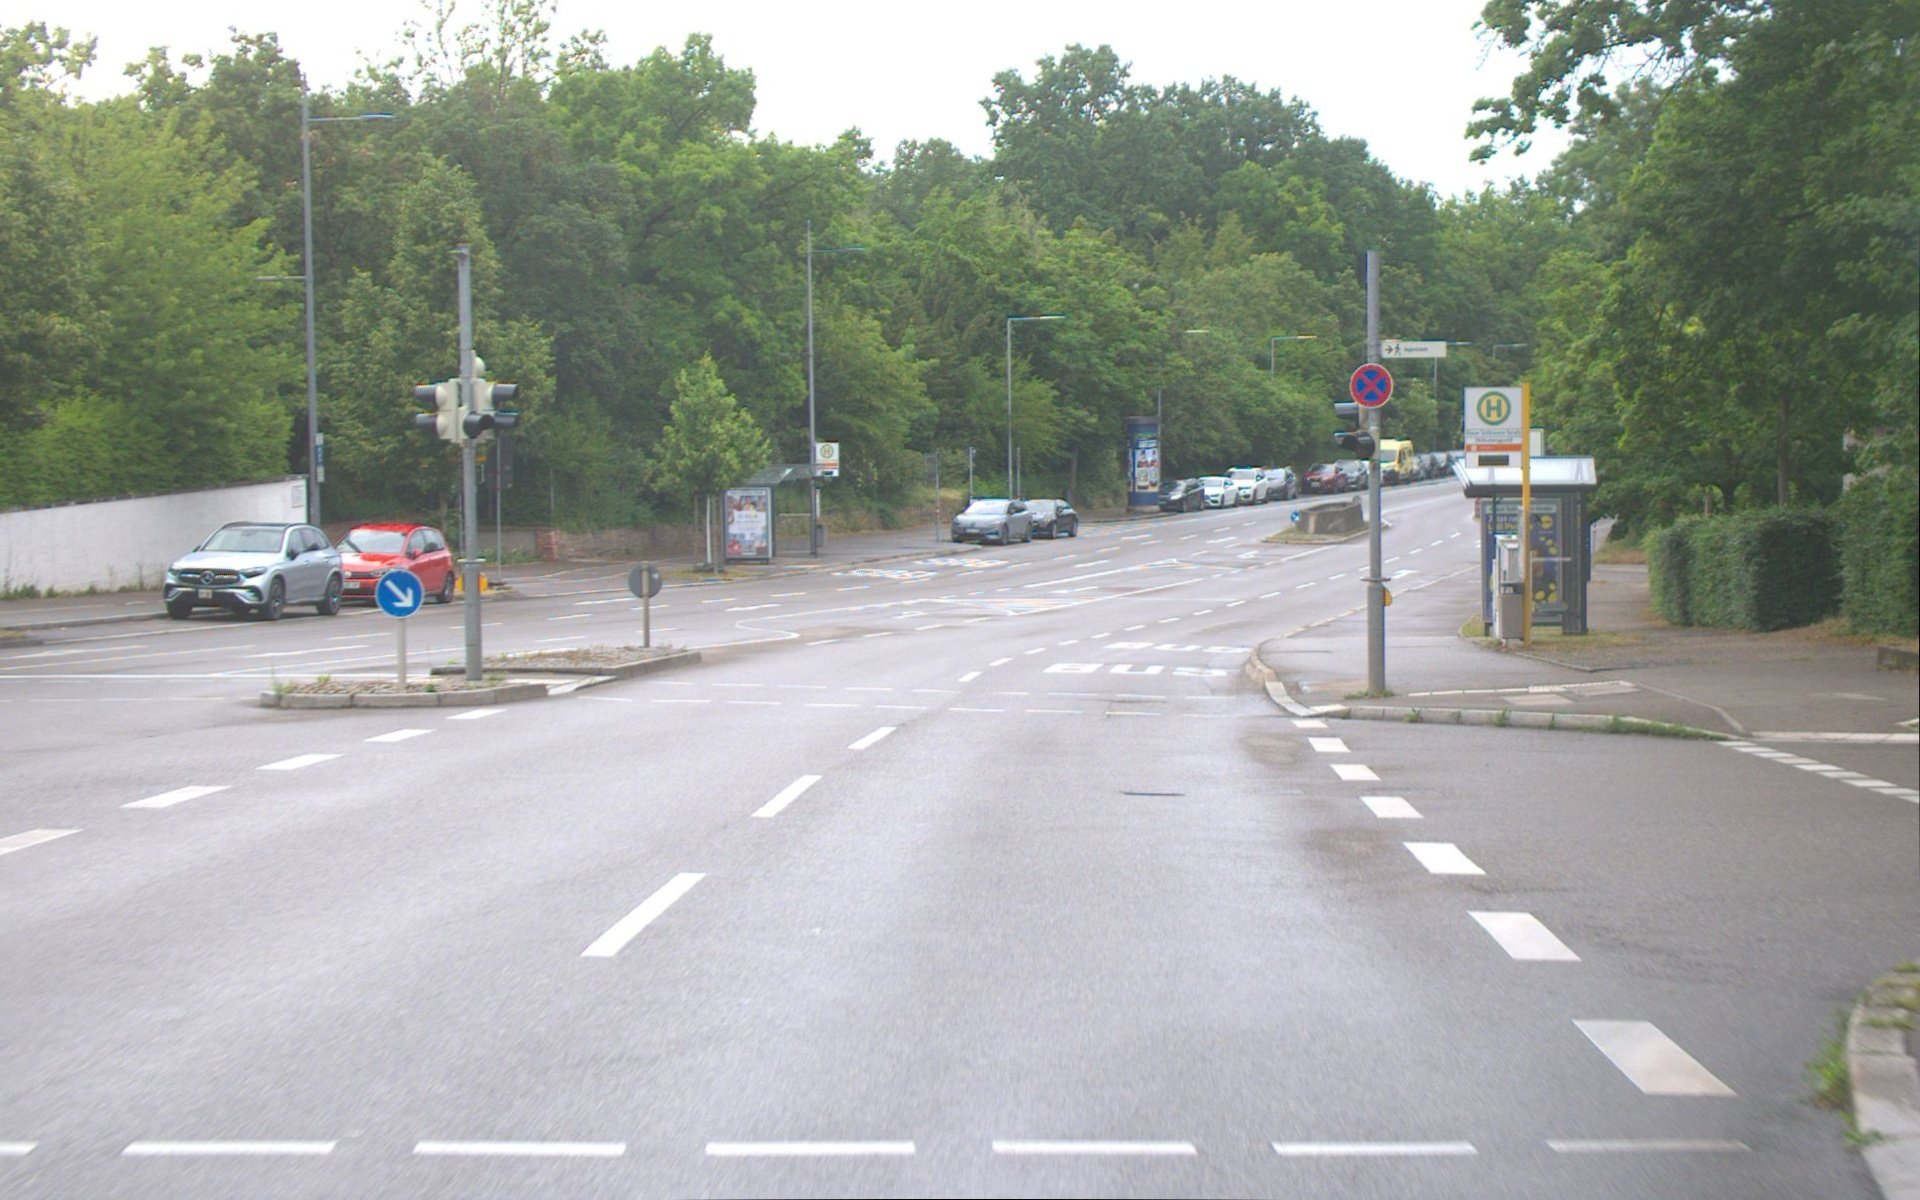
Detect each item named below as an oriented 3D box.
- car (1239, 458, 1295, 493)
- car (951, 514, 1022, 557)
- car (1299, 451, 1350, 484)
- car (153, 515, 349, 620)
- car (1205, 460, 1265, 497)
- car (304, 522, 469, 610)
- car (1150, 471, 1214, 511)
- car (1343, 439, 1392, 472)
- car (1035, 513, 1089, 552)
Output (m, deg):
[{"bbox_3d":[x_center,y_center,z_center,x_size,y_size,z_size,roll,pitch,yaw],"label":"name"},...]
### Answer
[{"bbox_3d":[15.427,-6.253,172.410,1.958,1.480,3.998,2,6,17],"label":"car"},{"bbox_3d":[0.934,-2.275,120.514,1.714,1.455,3.748,0,2,13],"label":"car"},{"bbox_3d":[19.534,-7.108,184.172,1.958,1.480,3.998,2,6,17],"label":"car"},{"bbox_3d":[-12.282,-0.594,59.805,1.854,1.634,4.092,2,3,11],"label":"car"},{"bbox_3d":[13.146,-5.802,164.140,1.958,1.480,3.998,2,6,17],"label":"car"},{"bbox_3d":[-11.149,-0.692,67.109,1.875,1.569,4.221,2,2,9],"label":"car"},{"bbox_3d":[9.992,-4.919,154.651,1.958,1.480,3.998,2,6,17],"label":"car"},{"bbox_3d":[22.935,-8.127,193.457,1.958,1.612,3.998,2,6,17],"label":"car"},{"bbox_3d":[3.749,-2.481,126.250,1.417,1.419,3.120,0,2,12],"label":"car"}]
